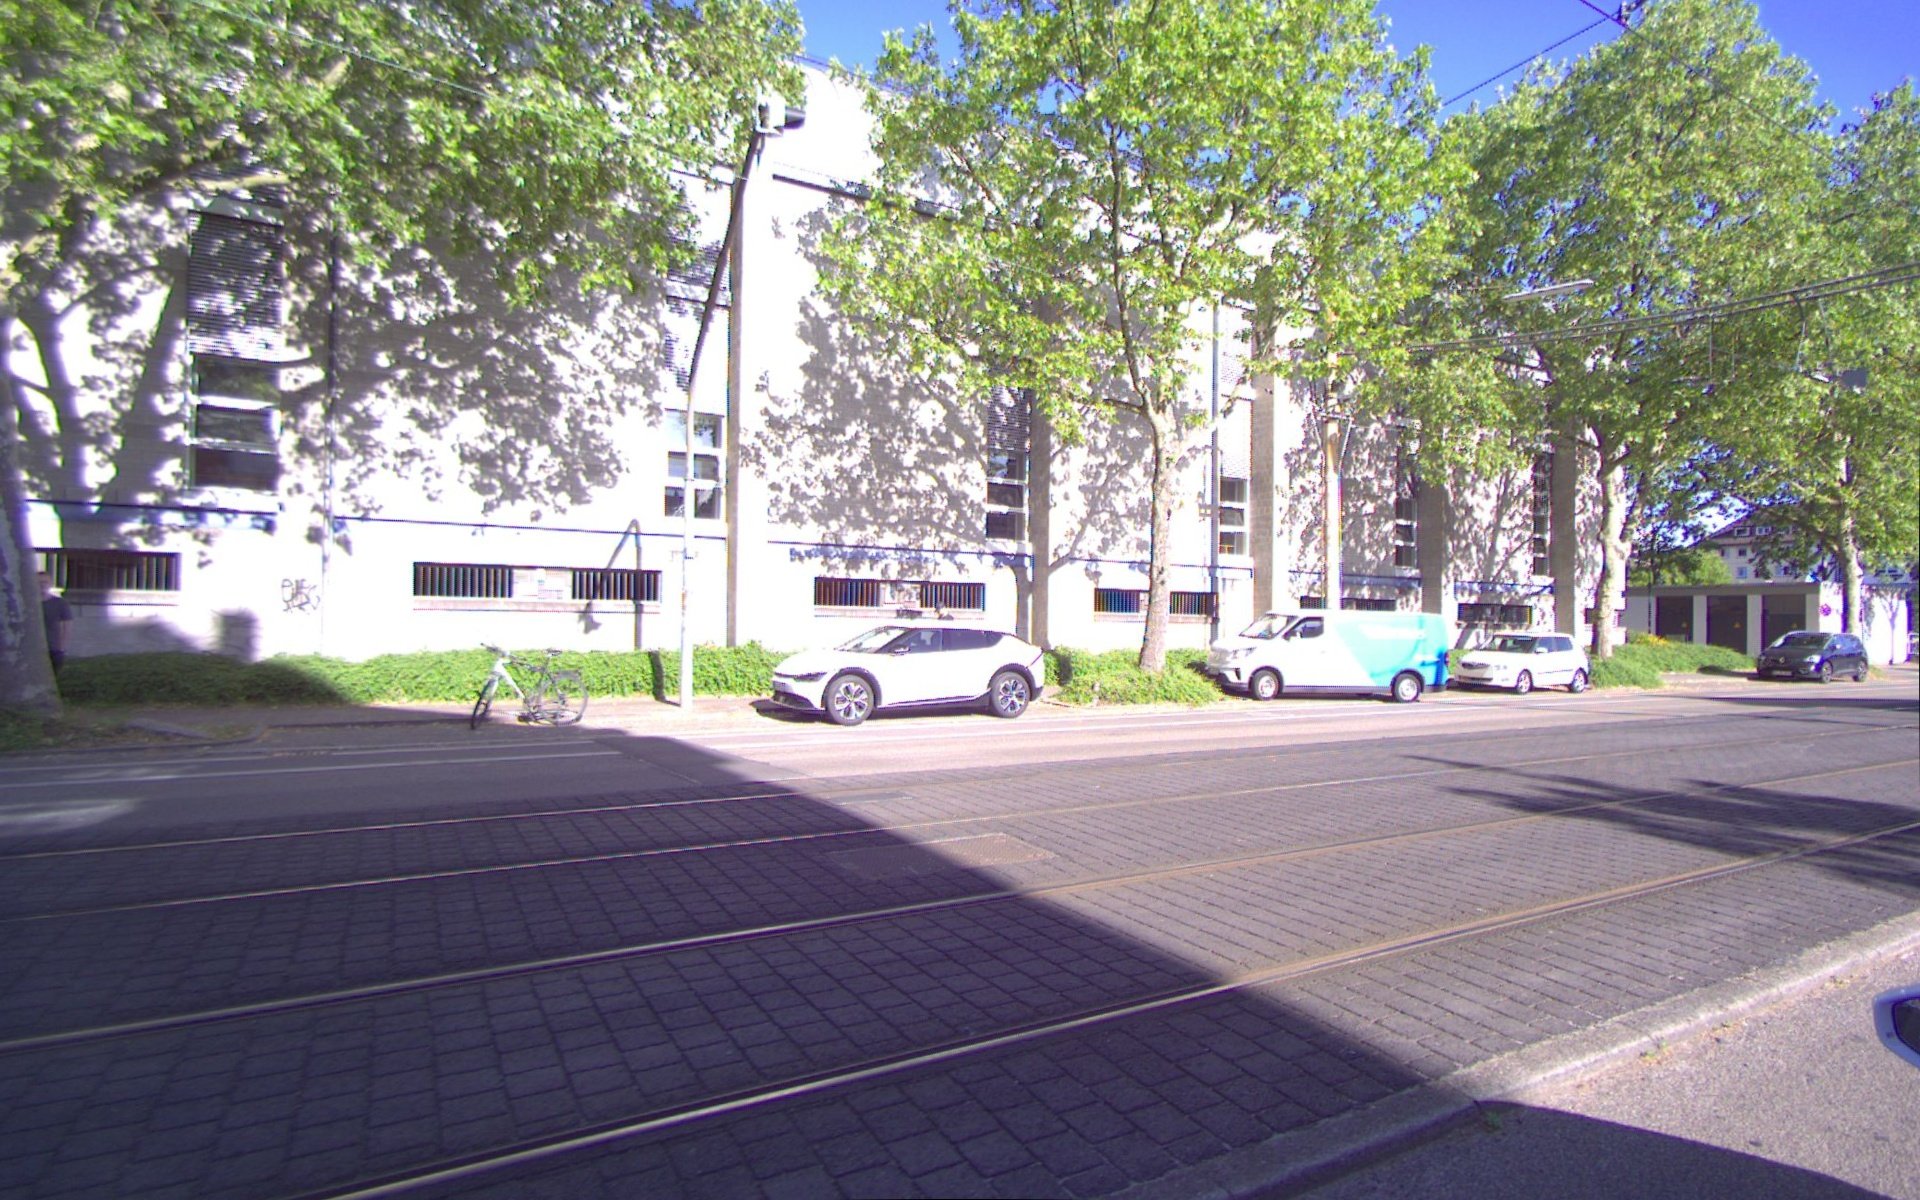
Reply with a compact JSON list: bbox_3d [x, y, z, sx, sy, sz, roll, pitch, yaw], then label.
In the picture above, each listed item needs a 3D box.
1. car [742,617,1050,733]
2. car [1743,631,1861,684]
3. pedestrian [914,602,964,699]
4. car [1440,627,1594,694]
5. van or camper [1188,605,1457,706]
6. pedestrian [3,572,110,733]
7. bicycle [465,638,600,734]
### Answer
[{"bbox_3d":[-0.995,1.126,16.452,4.641,1.593,2.001,1,1,-32],"label":"car"},{"bbox_3d":[28.579,1.905,34.068,3.953,1.688,1.879,1,-1,-30],"label":"car"},{"bbox_3d":[-0.425,0.973,19.818,0.662,1.844,0.793,1,1,-30],"label":"pedestrian"},{"bbox_3d":[14.136,1.477,25.444,4.042,1.527,1.566,1,1,-30],"label":"car"},{"bbox_3d":[7.770,1.175,21.732,5.096,1.976,2.063,1,1,-10],"label":"van or camper"},{"bbox_3d":[-11.101,0.614,12.353,0.658,1.895,0.786,2,1,27],"label":"pedestrian"},{"bbox_3d":[-5.948,1.165,14.008,1.638,1.225,0.577,1,1,-37],"label":"bicycle"}]
